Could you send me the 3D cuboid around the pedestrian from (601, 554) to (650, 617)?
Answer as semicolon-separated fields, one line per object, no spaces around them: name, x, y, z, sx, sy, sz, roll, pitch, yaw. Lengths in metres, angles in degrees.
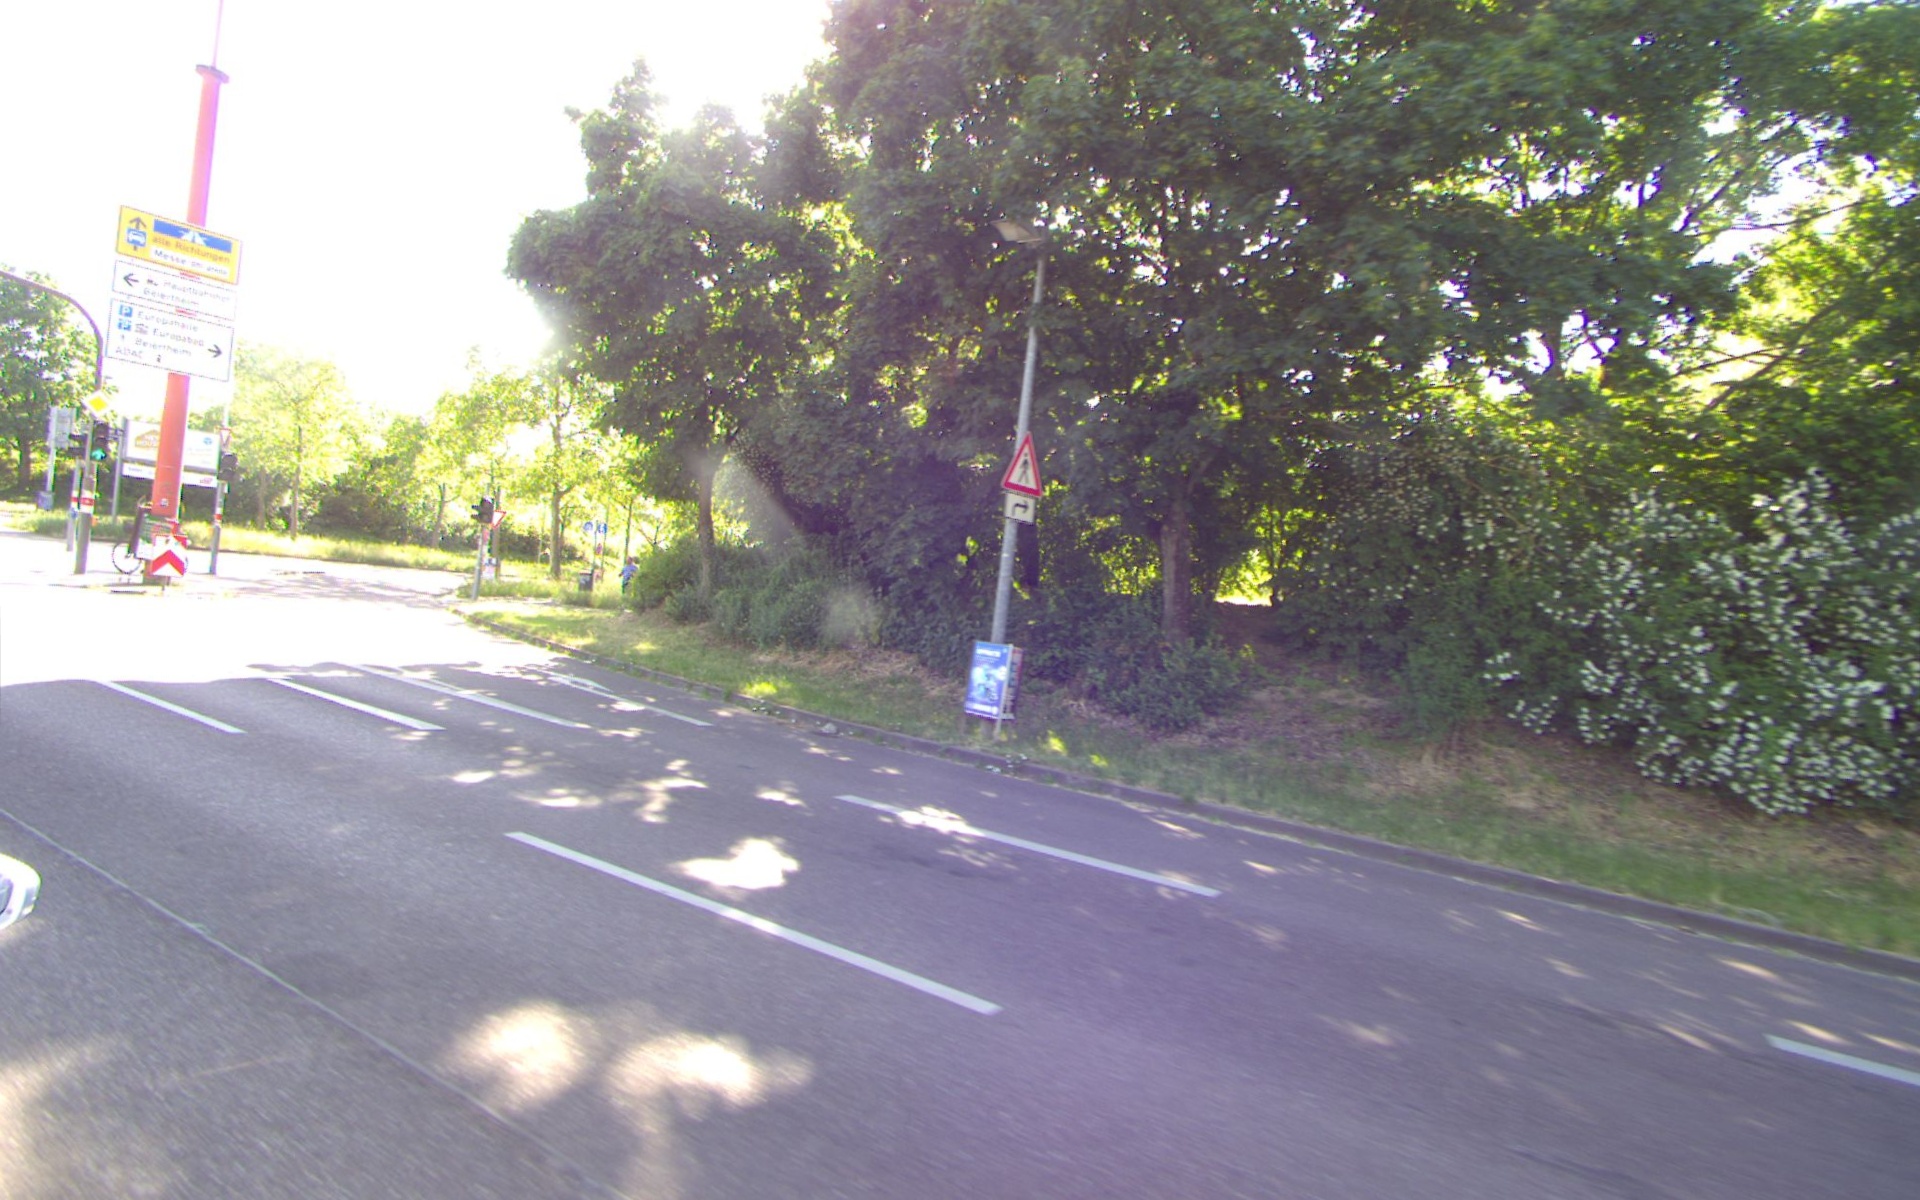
pedestrian;-10.568;-0.447;31.813;0.884;1.810;0.893;8;0;28

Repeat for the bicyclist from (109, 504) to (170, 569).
bicyclist;-18.443;-1.413;22.615;0.696;1.358;0.740;7;0;-14

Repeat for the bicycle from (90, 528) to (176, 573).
bicycle;-18.429;-1.082;22.470;0.551;0.889;2.162;6;0;-15
